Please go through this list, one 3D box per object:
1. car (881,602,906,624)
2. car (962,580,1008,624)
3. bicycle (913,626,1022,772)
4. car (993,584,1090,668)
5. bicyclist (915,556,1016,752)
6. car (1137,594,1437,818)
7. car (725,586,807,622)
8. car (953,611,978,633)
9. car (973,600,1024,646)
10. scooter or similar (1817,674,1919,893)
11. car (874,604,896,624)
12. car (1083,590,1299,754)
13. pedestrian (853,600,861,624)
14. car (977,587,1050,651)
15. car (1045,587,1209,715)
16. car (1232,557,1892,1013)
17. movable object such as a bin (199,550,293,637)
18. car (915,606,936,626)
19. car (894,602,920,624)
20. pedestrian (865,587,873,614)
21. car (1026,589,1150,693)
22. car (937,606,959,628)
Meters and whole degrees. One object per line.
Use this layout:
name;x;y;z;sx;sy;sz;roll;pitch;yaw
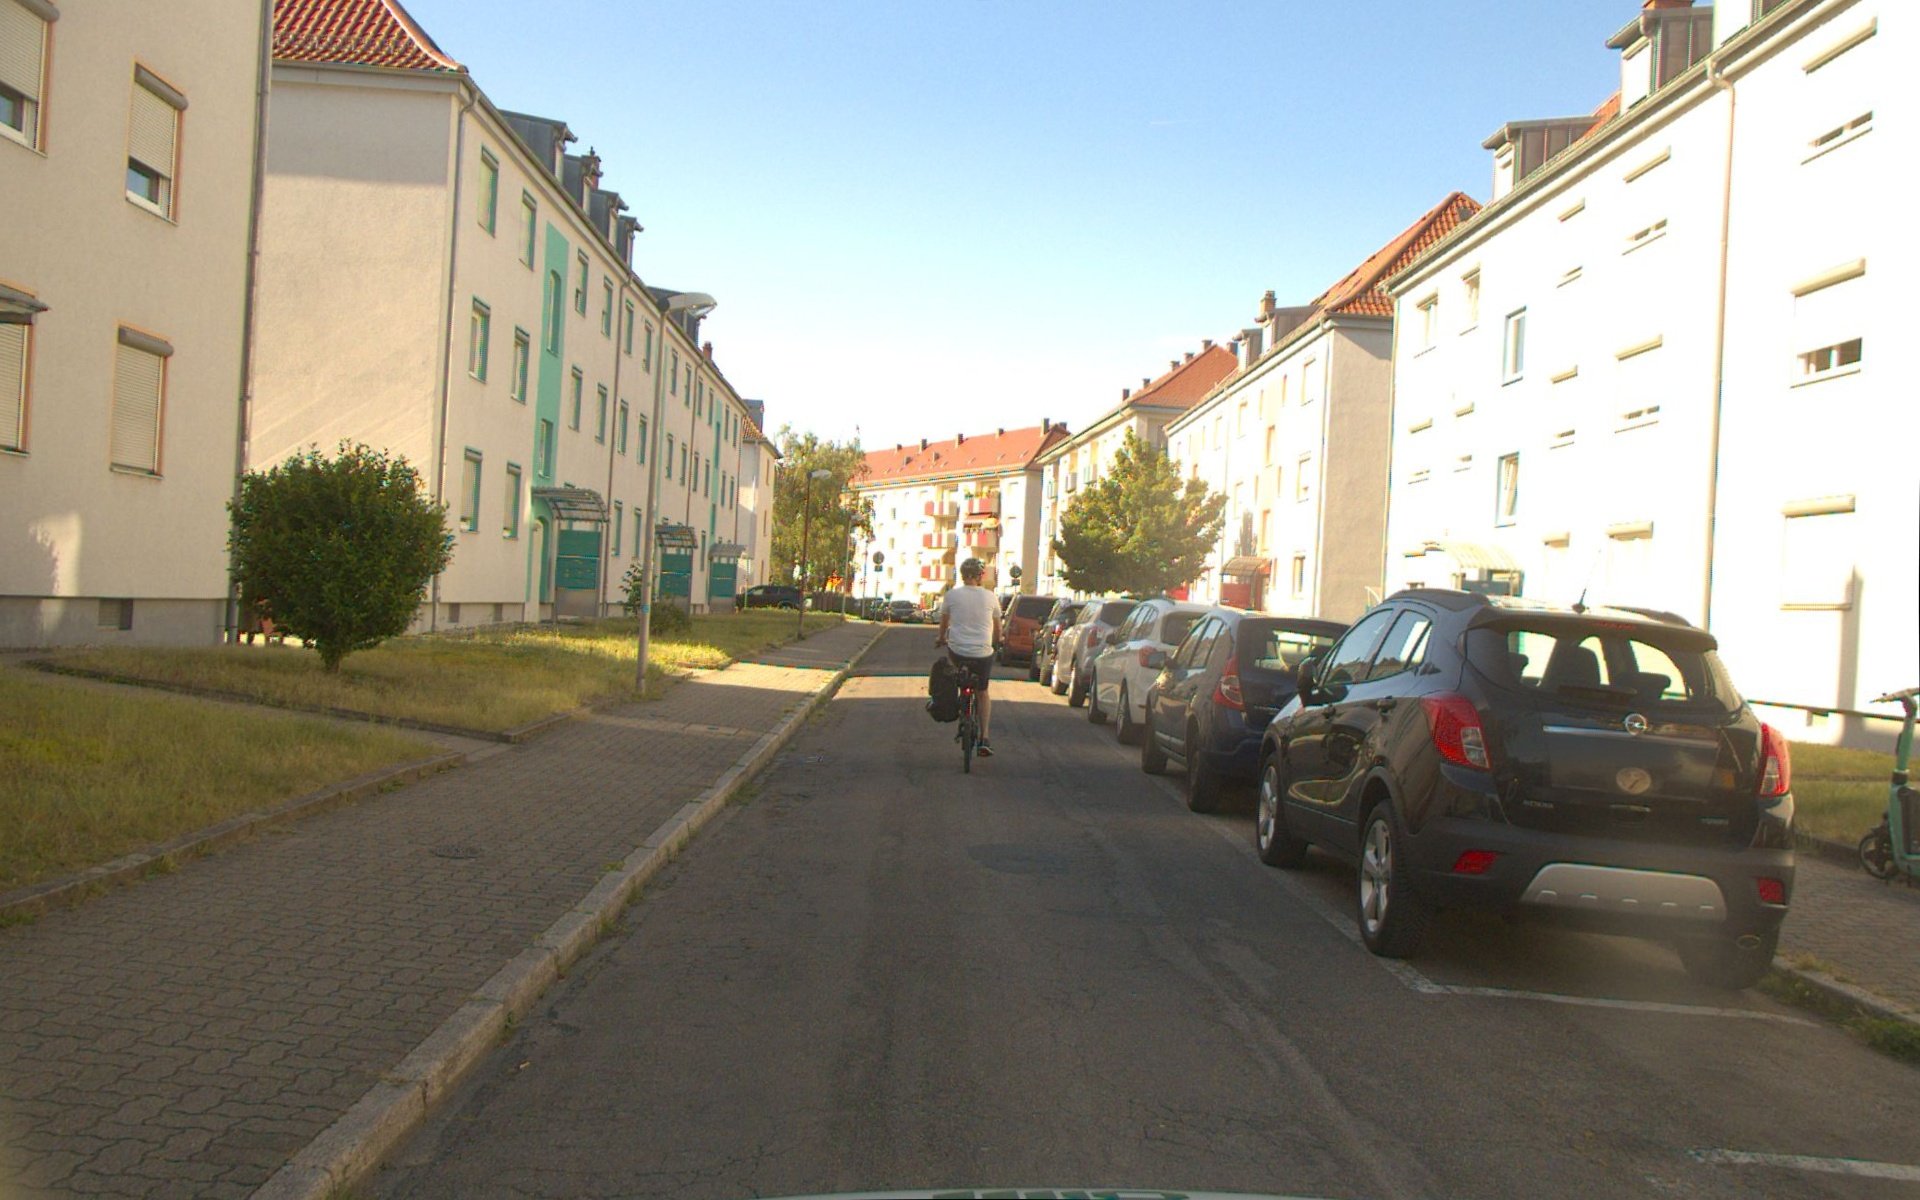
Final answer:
car;-4.421;0.857;109.729;1.441;1.359;3.137;-1;0;-5
car;1.057;0.061;72.466;1.641;1.769;3.940;4;0;-3
bicycle;0.032;0.836;14.712;0.792;1.148;2.100;2;0;-4
car;1.838;0.583;38.386;1.825;1.697;4.126;5;0;-2
bicyclist;0.040;0.466;14.793;0.793;1.672;0.898;2;0;-4
car;2.555;0.754;13.874;1.608;1.524;4.156;3;0;0
car;-10.116;0.218;86.441;4.149;1.667;1.581;3;0;-6
car;0.355;1.515;115.052;1.440;1.358;3.139;4;0;-3
car;1.329;0.787;58.215;1.527;1.436;3.932;4;0;-1
scooter or similar;5.604;1.054;9.550;0.474;1.169;1.588;0;0;-1
car;-5.300;0.958;116.372;1.440;1.359;3.138;-1;0;-4
car;2.581;0.743;19.483;1.657;1.602;4.432;4;0;-2
pedestrian;-6.333;0.711;101.542;0.425;1.452;0.543;2;0;-2
car;1.545;0.538;49.265;1.667;1.699;4.377;4;0;-3
car;2.468;0.705;25.532;1.716;1.645;4.449;5;0;-3
car;2.755;0.729;8.782;1.747;1.676;4.468;4;0;0
movable object such as a bin;-11.860;-0.107;27.508;1.228;1.380;0.903;3;0;-13
car;-2.810;1.298;134.534;1.440;1.542;3.075;4;0;-3
car;-3.414;0.799;105.406;1.441;1.359;3.137;0;0;-6
pedestrian;-5.588;0.025;101.505;0.425;1.602;0.543;2;0;-2
car;2.288;0.696;30.617;1.678;1.623;4.396;6;0;-2
car;-0.890;1.254;121.851;1.354;1.523;3.075;4;0;-3
